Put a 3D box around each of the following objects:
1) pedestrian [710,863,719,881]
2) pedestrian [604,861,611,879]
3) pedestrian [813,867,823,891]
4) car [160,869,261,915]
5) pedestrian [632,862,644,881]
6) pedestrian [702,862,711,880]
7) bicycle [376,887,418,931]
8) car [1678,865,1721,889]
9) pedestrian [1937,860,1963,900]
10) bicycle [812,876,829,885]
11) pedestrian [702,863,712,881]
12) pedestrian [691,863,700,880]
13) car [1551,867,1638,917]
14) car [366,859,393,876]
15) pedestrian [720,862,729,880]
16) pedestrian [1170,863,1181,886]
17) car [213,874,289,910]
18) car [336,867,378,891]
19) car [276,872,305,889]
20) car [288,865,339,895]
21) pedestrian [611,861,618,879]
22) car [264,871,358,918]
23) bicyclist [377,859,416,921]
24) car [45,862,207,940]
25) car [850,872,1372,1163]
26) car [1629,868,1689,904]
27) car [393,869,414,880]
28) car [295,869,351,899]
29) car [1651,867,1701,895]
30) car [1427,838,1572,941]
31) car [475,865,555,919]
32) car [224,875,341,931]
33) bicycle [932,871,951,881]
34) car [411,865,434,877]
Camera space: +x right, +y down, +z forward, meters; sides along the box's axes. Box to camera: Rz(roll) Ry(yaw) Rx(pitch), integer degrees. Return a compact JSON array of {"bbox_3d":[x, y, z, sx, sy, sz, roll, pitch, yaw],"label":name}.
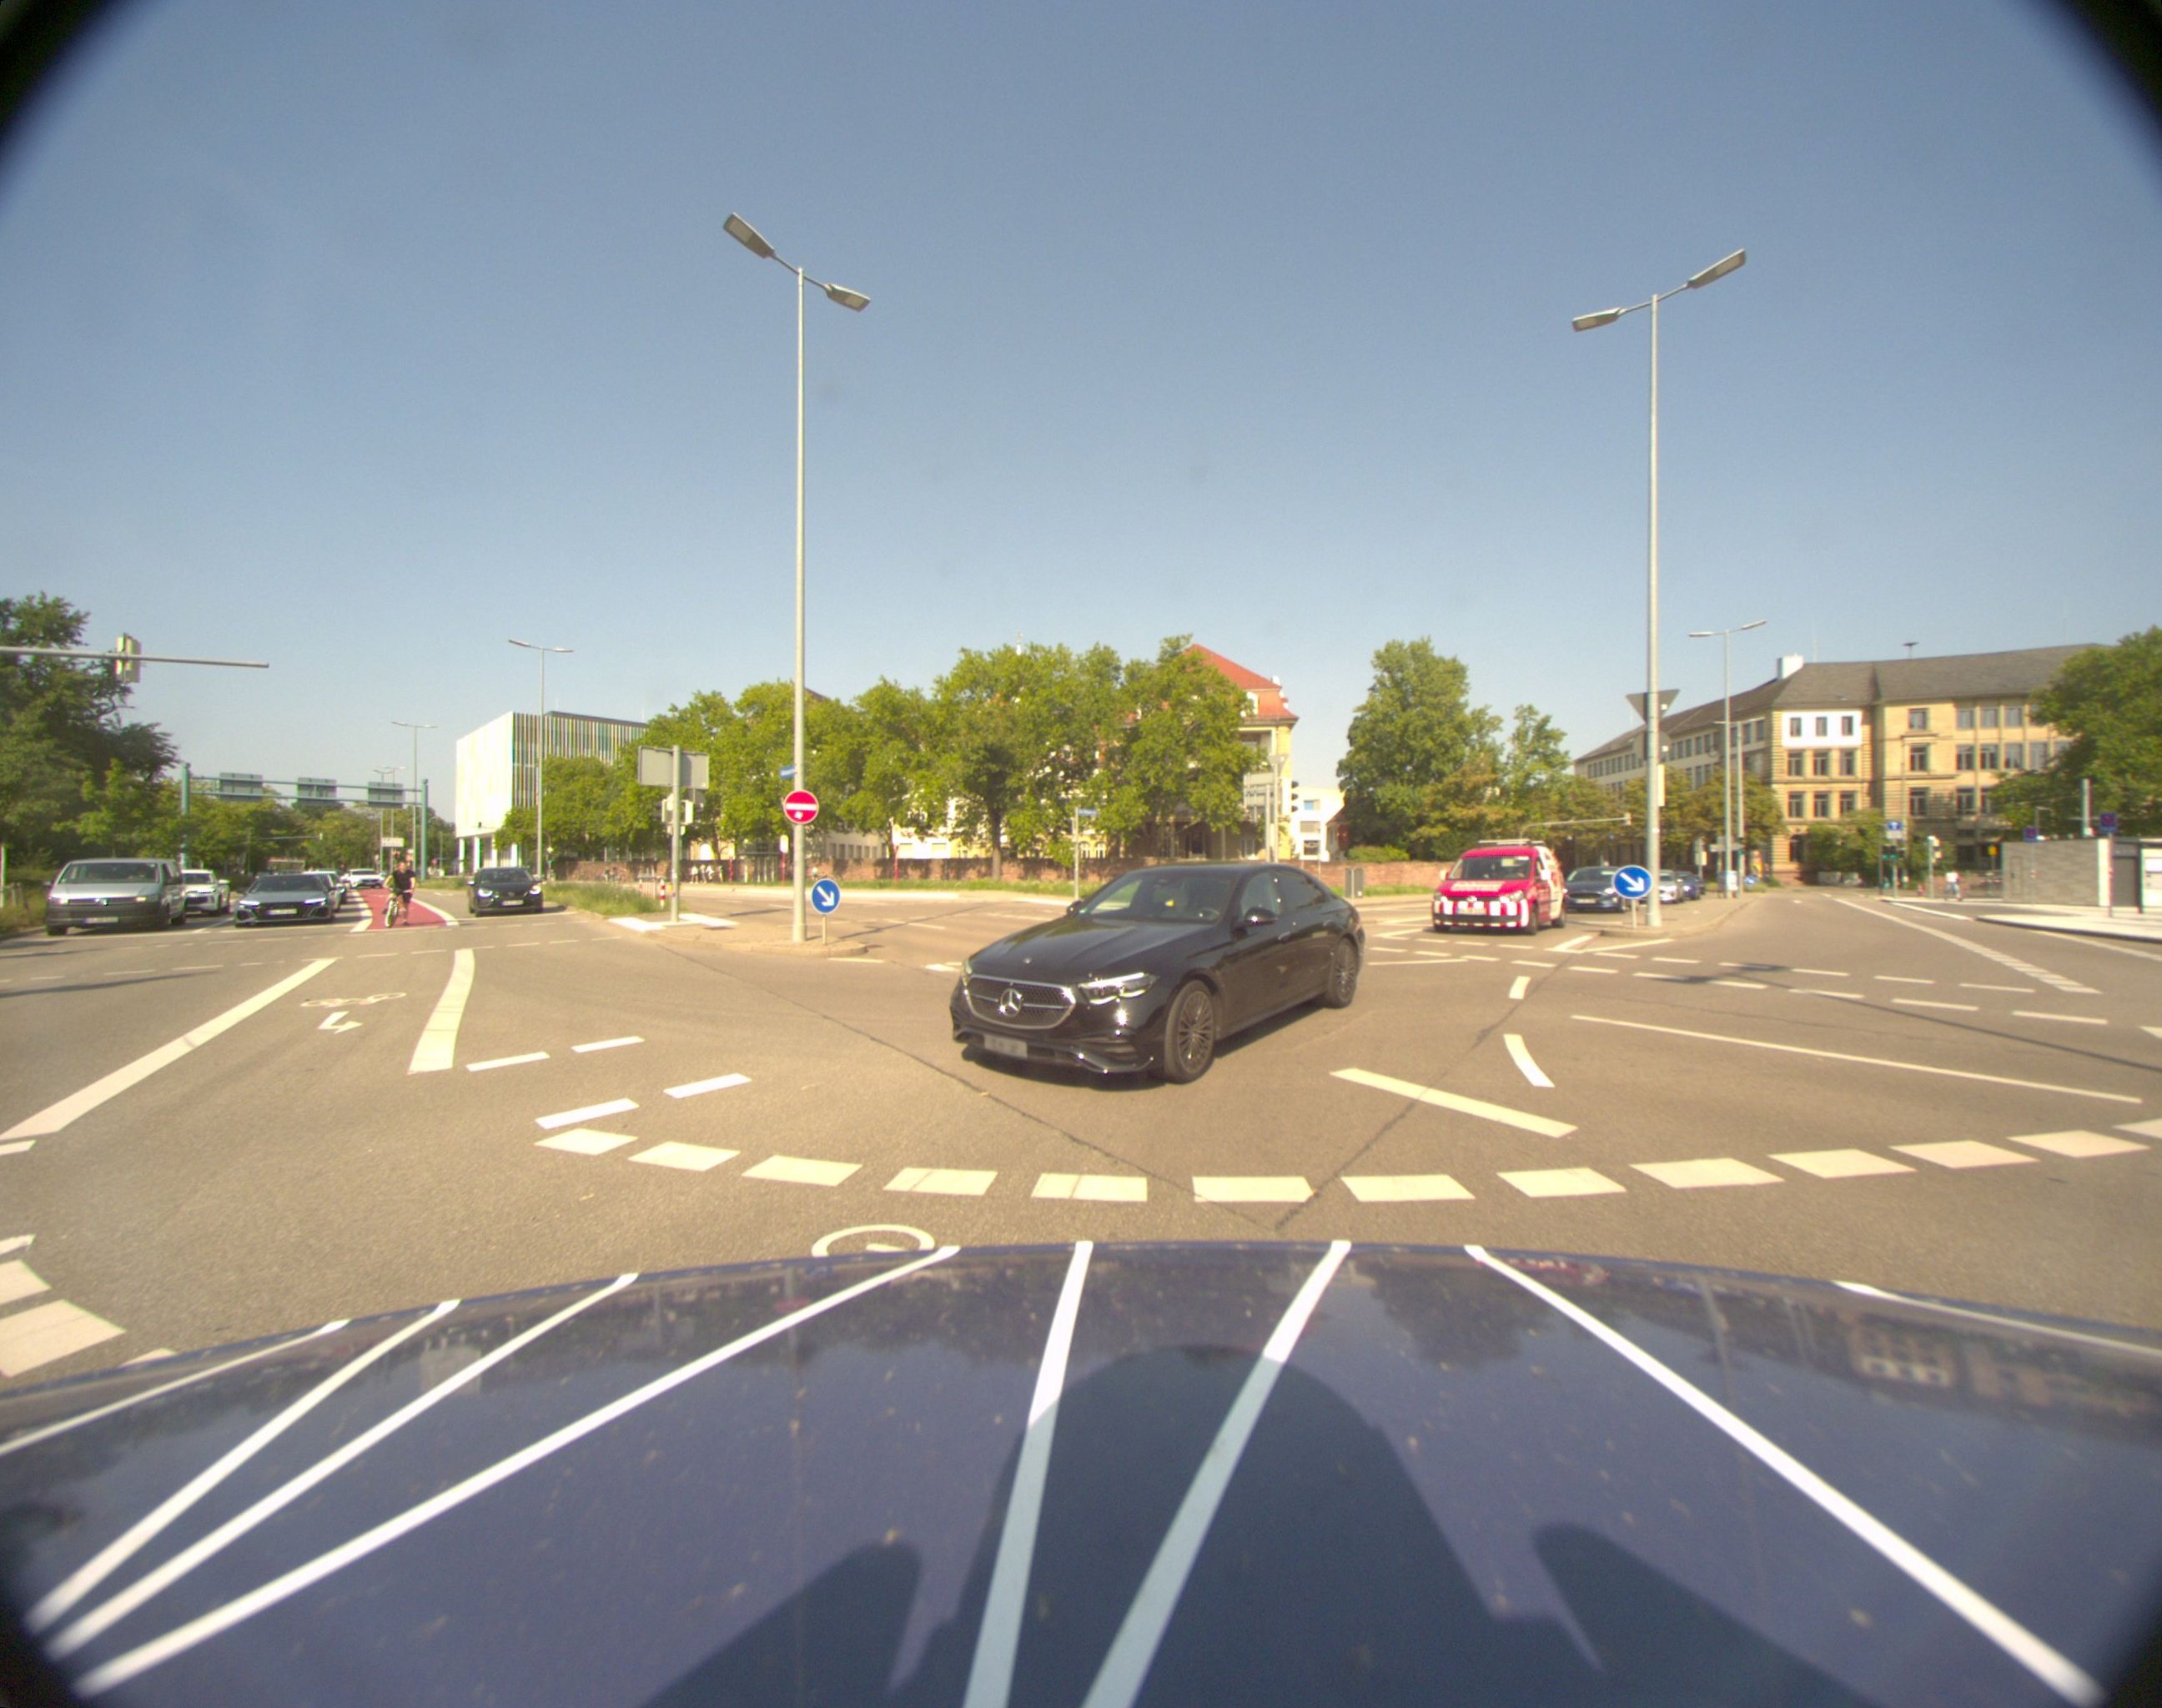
[{"bbox_3d":[-33.319,1.618,69.051,0.593,1.641,0.521,-3,-2,26],"label":"pedestrian"},{"bbox_3d":[-47.339,1.612,76.010,0.504,1.729,0.487,-3,-3,41],"label":"pedestrian"},{"bbox_3d":[-22.711,2.143,65.543,0.593,2.092,0.521,-3,-2,26],"label":"pedestrian"},{"bbox_3d":[-30.811,1.291,27.016,1.814,1.496,3.957,0,-1,-41],"label":"car"},{"bbox_3d":[-46.371,1.809,79.591,0.930,1.941,0.743,-3,-2,35],"label":"pedestrian"},{"bbox_3d":[-35.157,1.605,71.347,0.593,1.641,0.484,-3,-2,26],"label":"pedestrian"},{"bbox_3d":[-18.301,1.448,20.314,0.772,1.046,1.770,1,-1,-43],"label":"bicycle"},{"bbox_3d":[42.273,1.536,51.888,1.994,1.543,4.009,0,-1,43],"label":"car"},{"bbox_3d":[43.862,1.289,38.346,0.715,2.001,0.732,0,0,-30],"label":"pedestrian"},{"bbox_3d":[-22.726,2.317,66.274,1.546,0.830,0.435,0,0,21],"label":"bicycle"},{"bbox_3d":[-34.204,1.664,69.527,0.593,1.641,0.521,-3,-2,26],"label":"pedestrian"},{"bbox_3d":[-35.685,1.607,70.350,0.501,1.561,0.536,-2,-2,24],"label":"pedestrian"},{"bbox_3d":[16.246,1.137,23.933,1.636,1.418,4.332,-1,-1,43],"label":"car"},{"bbox_3d":[-91.899,1.796,99.535,3.989,2.001,1.924,-3,-3,36],"label":"car"},{"bbox_3d":[-32.767,1.542,69.833,0.593,1.641,0.484,-3,-2,26],"label":"pedestrian"},{"bbox_3d":[7.076,1.546,56.842,0.717,1.673,0.595,0,0,12],"label":"pedestrian"},{"bbox_3d":[-38.125,1.693,35.024,2.004,1.496,4.423,1,-1,-43],"label":"car"},{"bbox_3d":[-52.634,1.756,55.227,4.282,1.650,1.937,-1,-1,43],"label":"car"},{"bbox_3d":[-81.852,2.710,78.647,4.282,1.650,1.937,-1,-1,43],"label":"car"},{"bbox_3d":[-44.920,1.468,44.455,4.282,1.650,1.937,-1,-1,43],"label":"car"},{"bbox_3d":[-46.937,1.619,76.418,0.504,1.729,0.487,-3,-3,41],"label":"pedestrian"},{"bbox_3d":[-27.478,1.384,27.257,2.004,1.496,4.423,0,-1,-41],"label":"car"},{"bbox_3d":[-18.325,0.945,20.346,0.750,1.625,0.873,0,-1,-43],"label":"bicyclist"},{"bbox_3d":[-25.715,1.173,20.664,1.851,1.863,4.960,1,-1,-41],"label":"car"},{"bbox_3d":[0.707,0.910,6.413,1.820,1.431,4.884,0,0,39],"label":"car"},{"bbox_3d":[24.545,1.300,32.213,1.716,1.425,3.869,0,-1,42],"label":"car"},{"bbox_3d":[-96.134,2.931,107.830,3.988,1.564,1.716,-1,-1,41],"label":"car"},{"bbox_3d":[-40.435,1.562,40.521,4.282,1.496,1.937,-1,-1,43],"label":"car"},{"bbox_3d":[30.024,1.313,38.310,1.603,1.321,4.342,-1,-1,43],"label":"car"},{"bbox_3d":[8.634,0.707,15.502,1.733,1.808,4.288,0,-2,41],"label":"car"},{"bbox_3d":[-18.871,1.172,25.243,1.857,1.569,4.701,-2,1,-40],"label":"car"},{"bbox_3d":[-23.425,1.360,22.474,1.915,1.392,4.906,0,-1,-41],"label":"car"},{"bbox_3d":[-11.419,1.815,62.222,1.547,0.830,0.434,0,0,18],"label":"bicycle"},{"bbox_3d":[-86.700,2.240,100.003,3.988,1.564,1.716,-1,-1,41],"label":"car"}]
